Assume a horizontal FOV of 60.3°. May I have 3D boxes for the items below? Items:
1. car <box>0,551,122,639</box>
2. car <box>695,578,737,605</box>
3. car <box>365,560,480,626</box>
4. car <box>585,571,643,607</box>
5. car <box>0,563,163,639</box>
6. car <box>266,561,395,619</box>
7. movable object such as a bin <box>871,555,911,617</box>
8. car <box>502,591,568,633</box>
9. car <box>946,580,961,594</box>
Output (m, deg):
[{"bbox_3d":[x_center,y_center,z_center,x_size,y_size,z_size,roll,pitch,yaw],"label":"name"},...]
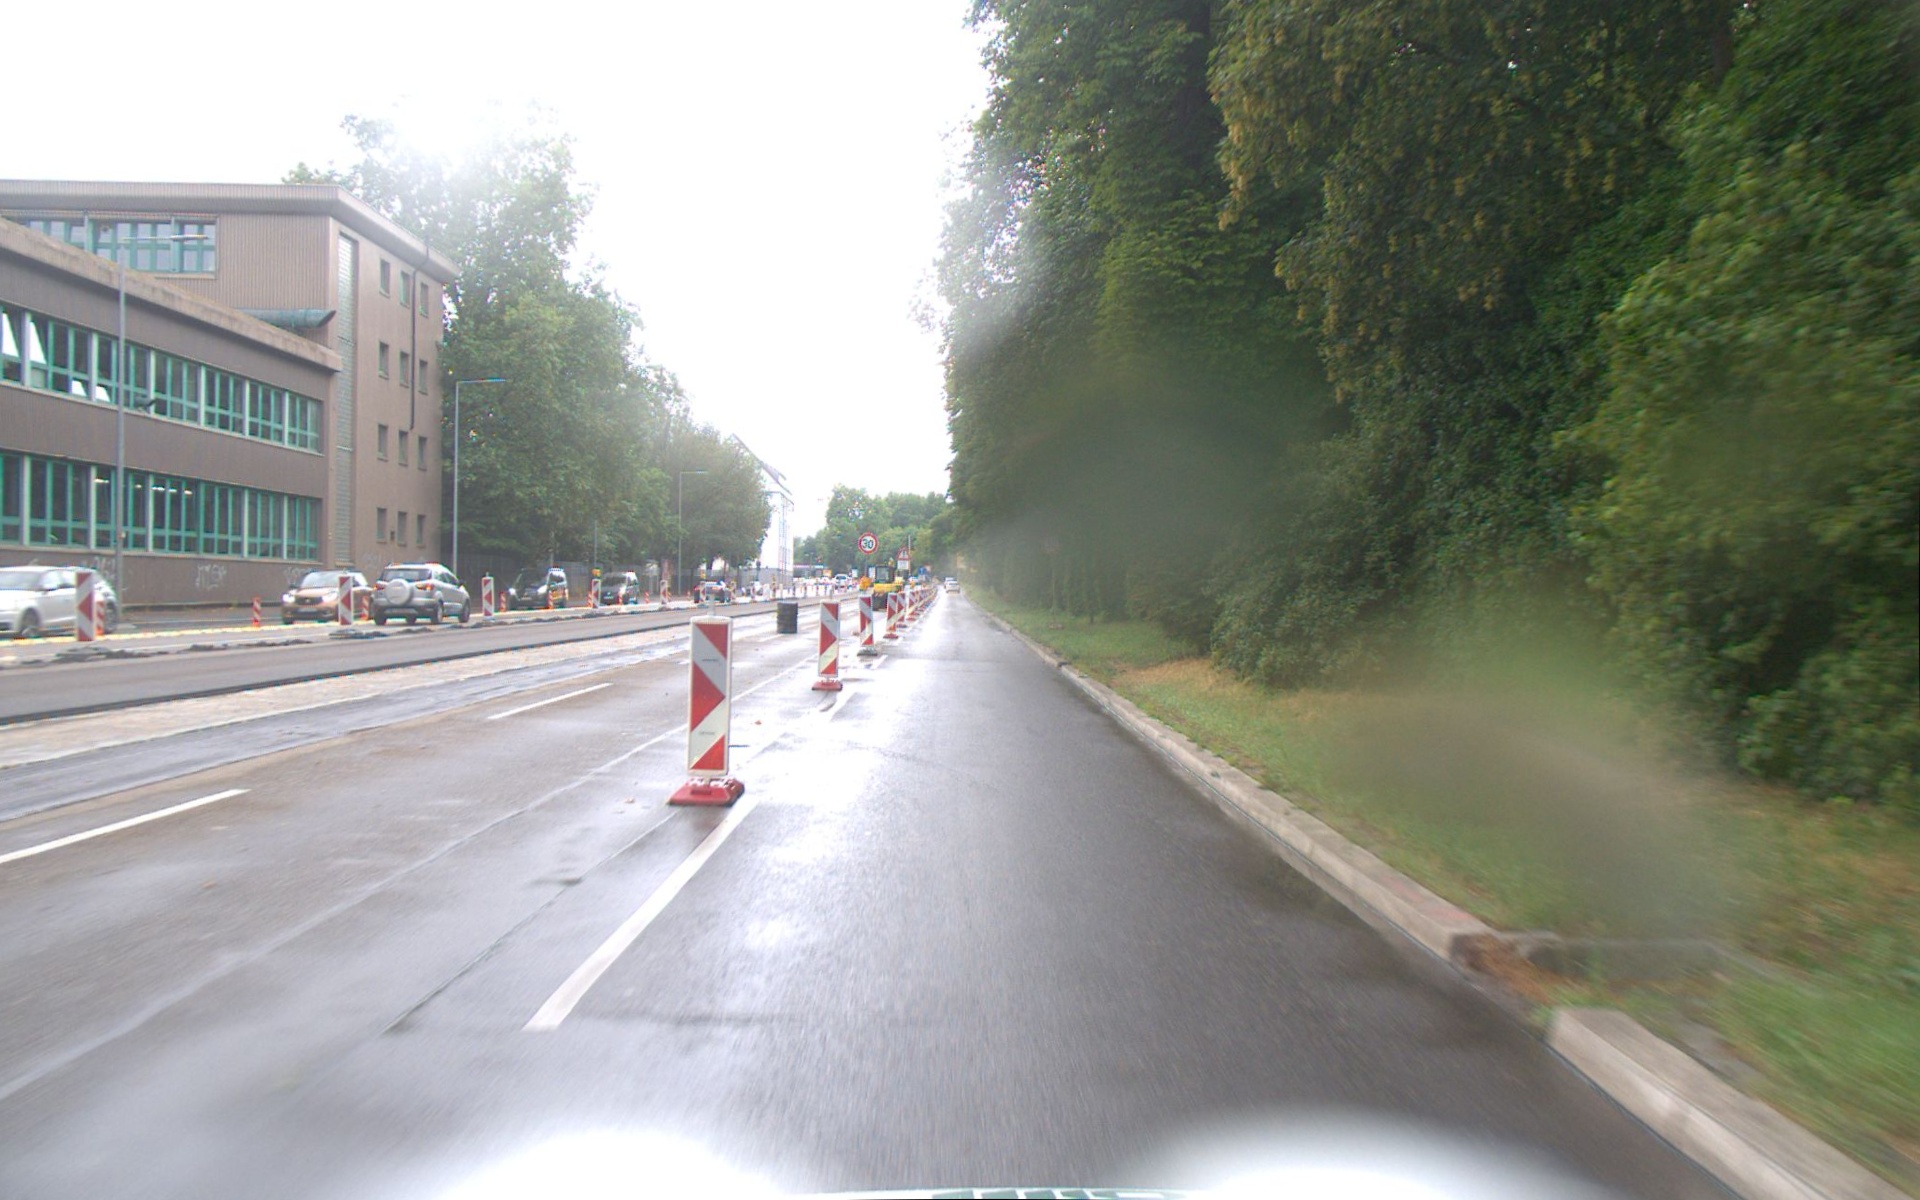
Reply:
[{"bbox_3d":[-17.832,-0.112,31.411,1.767,1.561,3.991,2,0,-1],"label":"car"},{"bbox_3d":[-14.902,-0.502,101.277,1.953,1.545,3.999,2,0,-1],"label":"car"},{"bbox_3d":[-14.685,-0.191,45.393,1.817,1.677,3.999,2,0,-1],"label":"car"},{"bbox_3d":[-18.717,-0.579,89.627,1.952,1.811,4.955,2,0,1],"label":"car"},{"bbox_3d":[-20.580,0.010,38.580,1.953,1.614,4.178,2,0,-1],"label":"car"},{"bbox_3d":[-17.900,-0.283,47.268,1.855,1.528,4.517,2,0,1],"label":"car"},{"bbox_3d":[-3.956,-0.796,95.599,1.953,3.426,5.982,2,0,0],"label":"movable object such as a bin"},{"bbox_3d":[-20.804,0.563,81.152,1.953,1.952,5.362,2,0,-2],"label":"car"},{"bbox_3d":[-0.841,-1.674,213.563,1.953,1.702,4.000,2,0,0],"label":"car"}]
